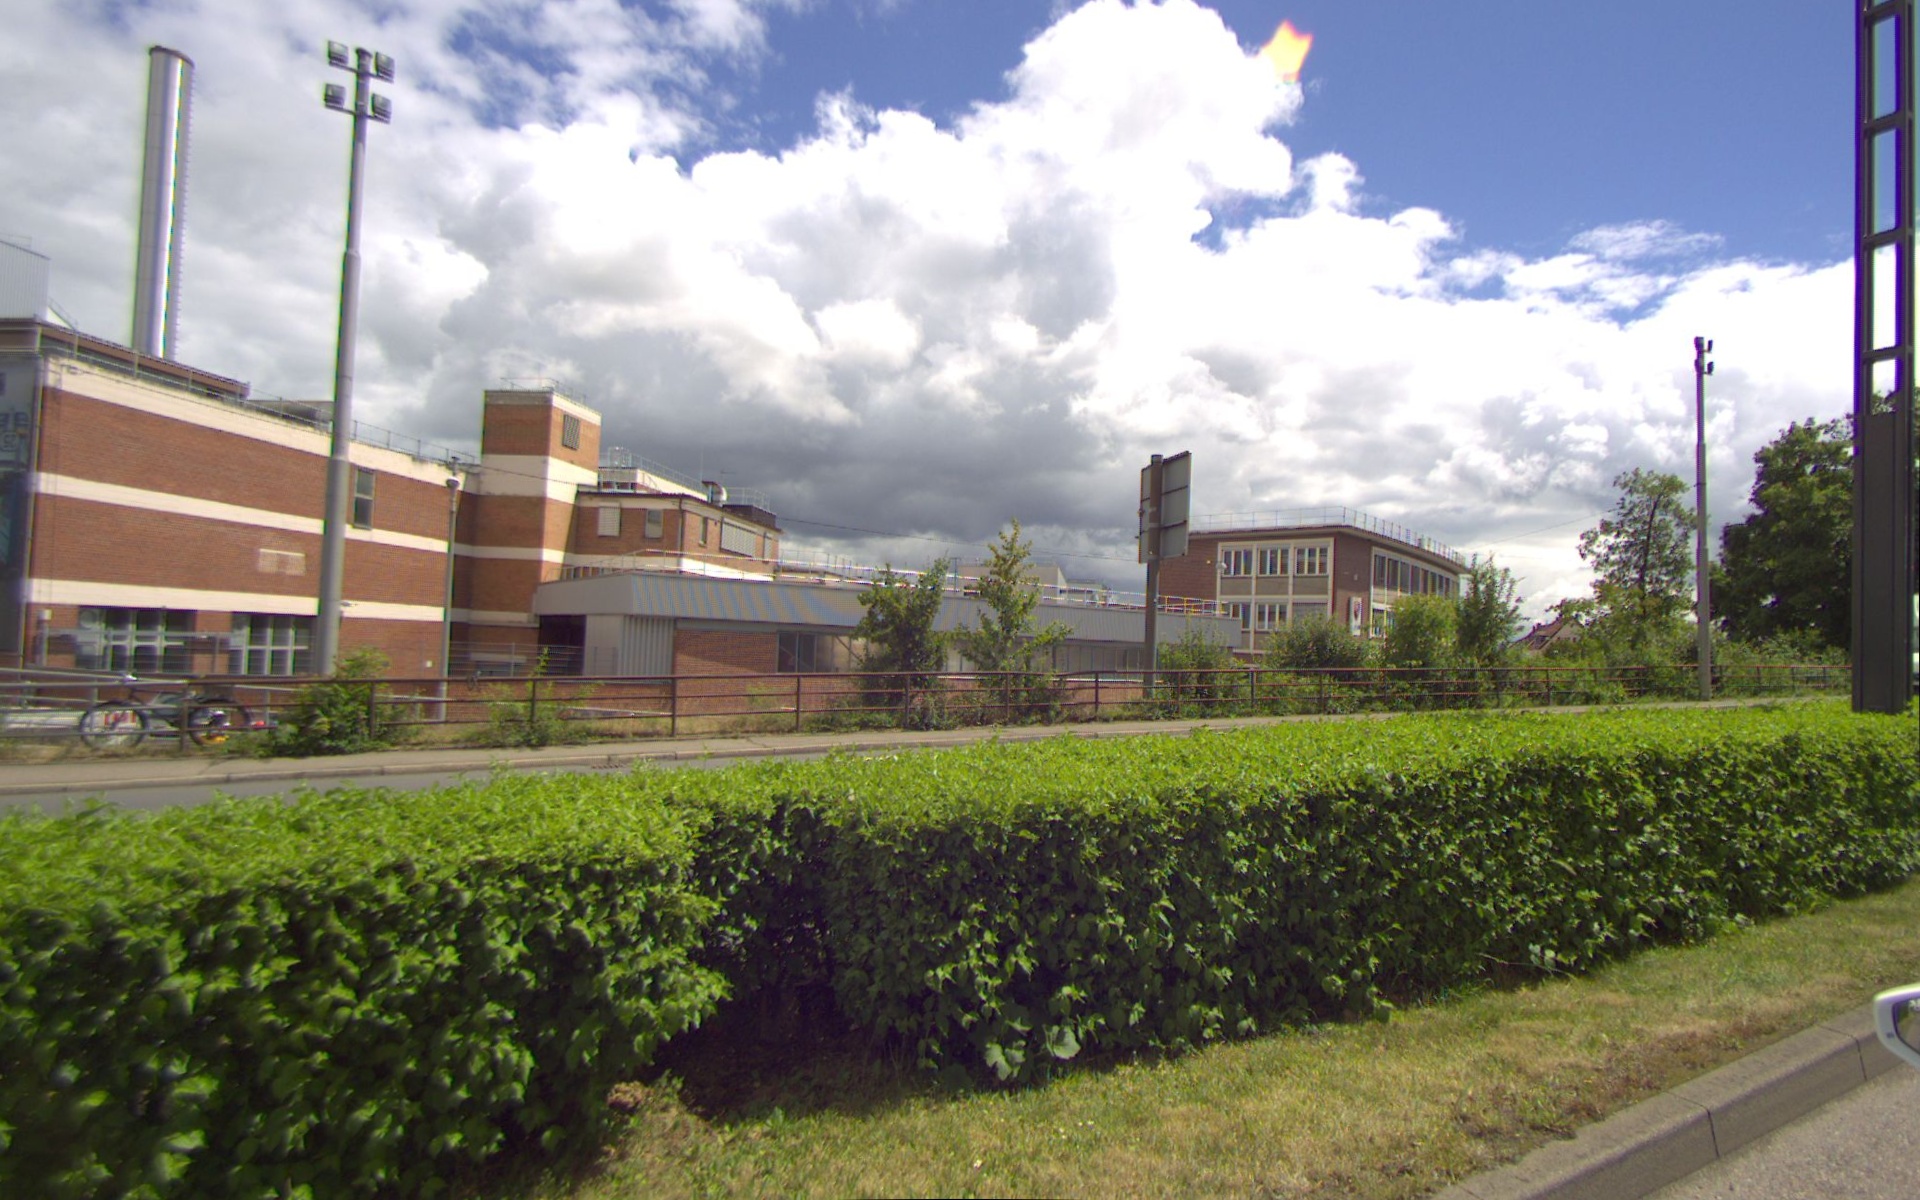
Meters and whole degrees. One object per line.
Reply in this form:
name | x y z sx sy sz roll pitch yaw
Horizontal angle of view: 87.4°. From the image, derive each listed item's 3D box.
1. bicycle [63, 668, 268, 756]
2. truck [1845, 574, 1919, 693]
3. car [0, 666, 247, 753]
bicycle | -9.907 1.375 12.605 1.923 1.002 0.518 1 -1 -25
truck | 27.315 0.819 26.667 9.263 2.895 2.843 0 -1 -30
car | -14.720 1.863 17.548 3.534 1.337 1.443 3 -2 -32
